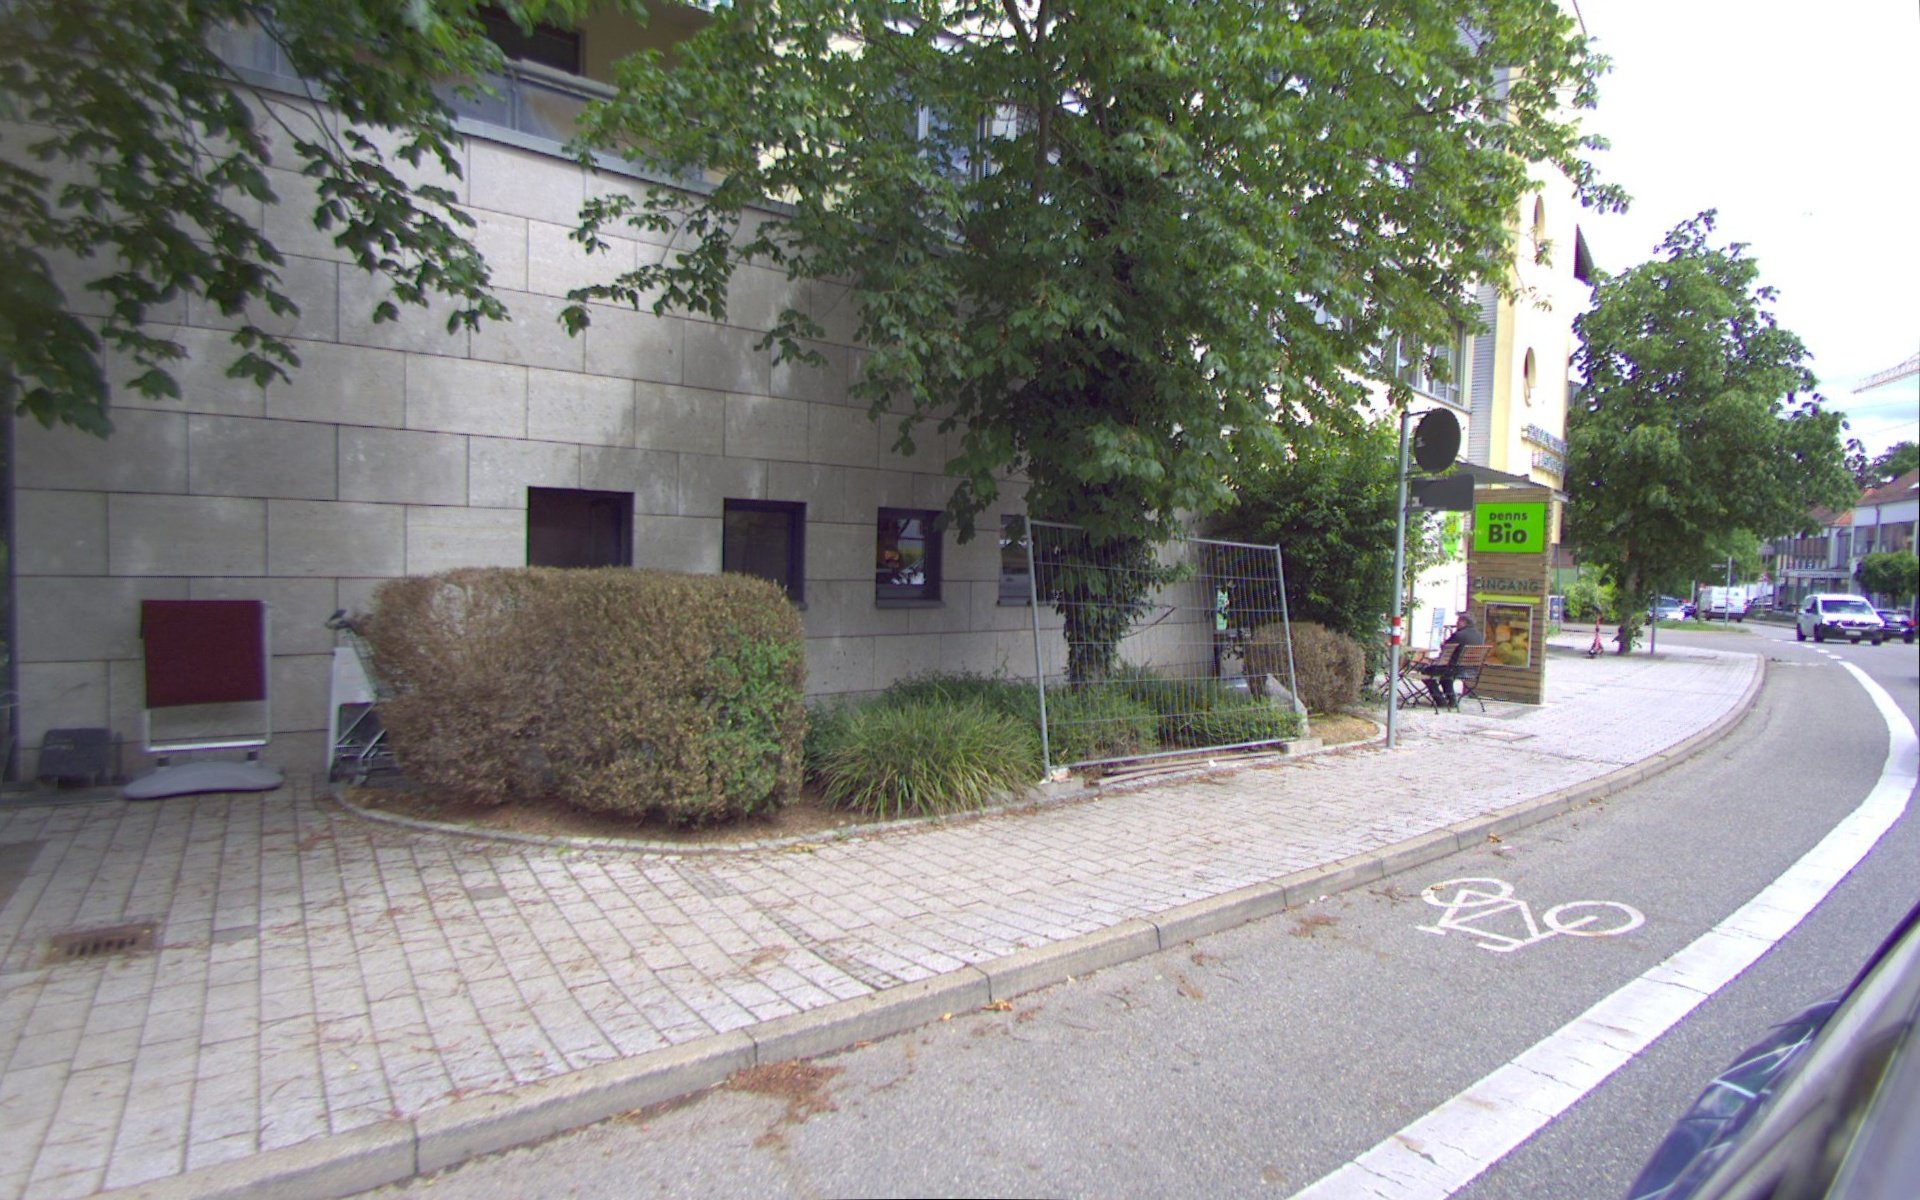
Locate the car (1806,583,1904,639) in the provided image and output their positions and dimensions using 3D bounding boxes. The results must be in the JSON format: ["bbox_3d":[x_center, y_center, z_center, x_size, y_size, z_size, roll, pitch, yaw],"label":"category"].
[{"bbox_3d":[32.410,0.335,36.762,1.952,1.829,4.379,1,2,32],"label":"car"}]

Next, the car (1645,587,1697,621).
[{"bbox_3d":[38.766,0.203,55.249,1.680,1.687,4.419,3,1,27],"label":"car"}]

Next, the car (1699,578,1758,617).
[{"bbox_3d":[52.548,-0.196,69.290,2.050,2.382,5.136,6,3,26],"label":"car"}]

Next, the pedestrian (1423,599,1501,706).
[{"bbox_3d":[6.606,0.672,13.331,0.567,1.332,0.691,-1,2,-31],"label":"pedestrian"}]

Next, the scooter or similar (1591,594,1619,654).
[{"bbox_3d":[15.442,0.555,24.221,0.380,1.332,1.439,2,2,39],"label":"scooter or similar"}]

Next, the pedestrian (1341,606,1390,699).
[{"bbox_3d":[5.516,0.698,13.766,0.519,1.196,0.496,2,2,32],"label":"pedestrian"}]

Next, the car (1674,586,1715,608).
[{"bbox_3d":[57.796,-0.282,79.704,1.759,1.442,4.073,5,4,26],"label":"car"}]

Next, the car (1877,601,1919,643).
[{"bbox_3d":[38.918,0.899,41.210,1.683,1.499,4.174,7,5,35],"label":"car"}]

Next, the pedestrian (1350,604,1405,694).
[{"bbox_3d":[5.946,0.686,14.410,0.577,1.218,0.495,2,2,43],"label":"pedestrian"}]
